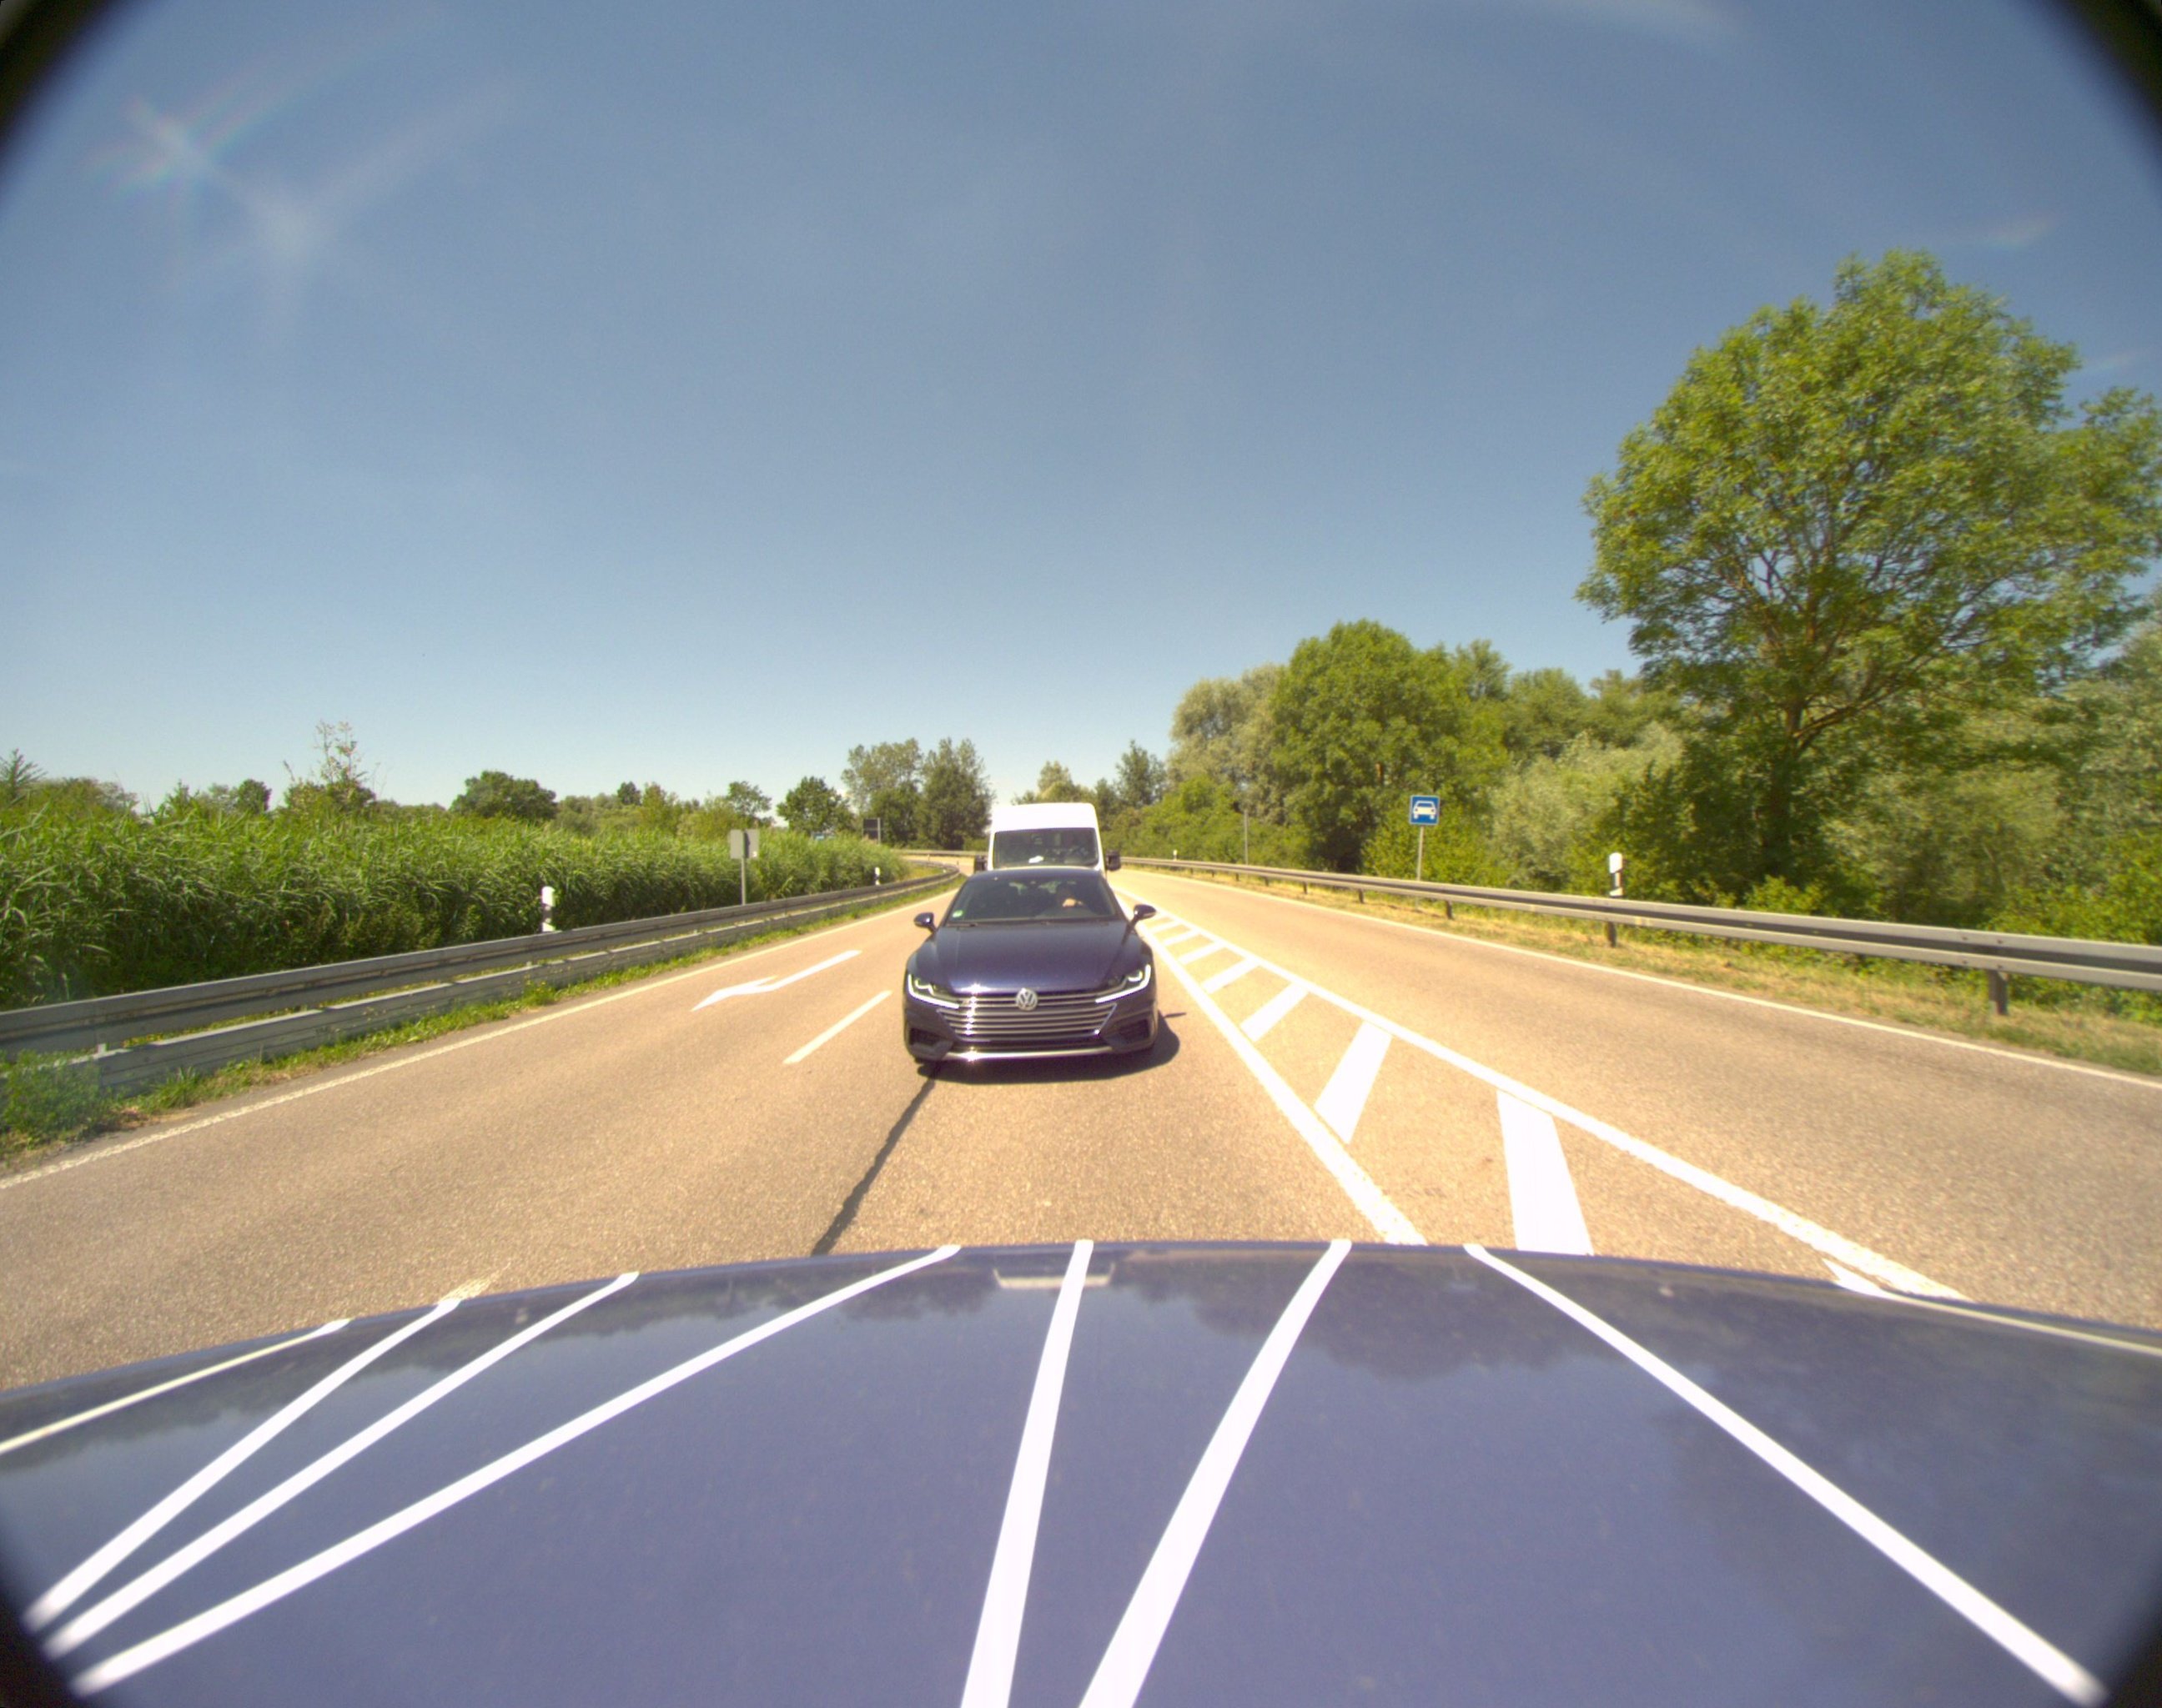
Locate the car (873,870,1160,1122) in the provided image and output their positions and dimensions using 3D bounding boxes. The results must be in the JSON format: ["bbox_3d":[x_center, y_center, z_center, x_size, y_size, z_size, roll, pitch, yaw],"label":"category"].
[{"bbox_3d":[-0.397,0.942,6.793,1.761,1.401,3.999,-2,1,0],"label":"car"}]

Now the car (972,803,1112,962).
[{"bbox_3d":[-0.585,0.406,14.563,2.059,2.376,5.826,-2,1,0],"label":"car"}]

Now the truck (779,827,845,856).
[{"bbox_3d":[-31.473,-1.440,88.604,9.054,3.052,2.583,-1,1,37],"label":"truck"}]
